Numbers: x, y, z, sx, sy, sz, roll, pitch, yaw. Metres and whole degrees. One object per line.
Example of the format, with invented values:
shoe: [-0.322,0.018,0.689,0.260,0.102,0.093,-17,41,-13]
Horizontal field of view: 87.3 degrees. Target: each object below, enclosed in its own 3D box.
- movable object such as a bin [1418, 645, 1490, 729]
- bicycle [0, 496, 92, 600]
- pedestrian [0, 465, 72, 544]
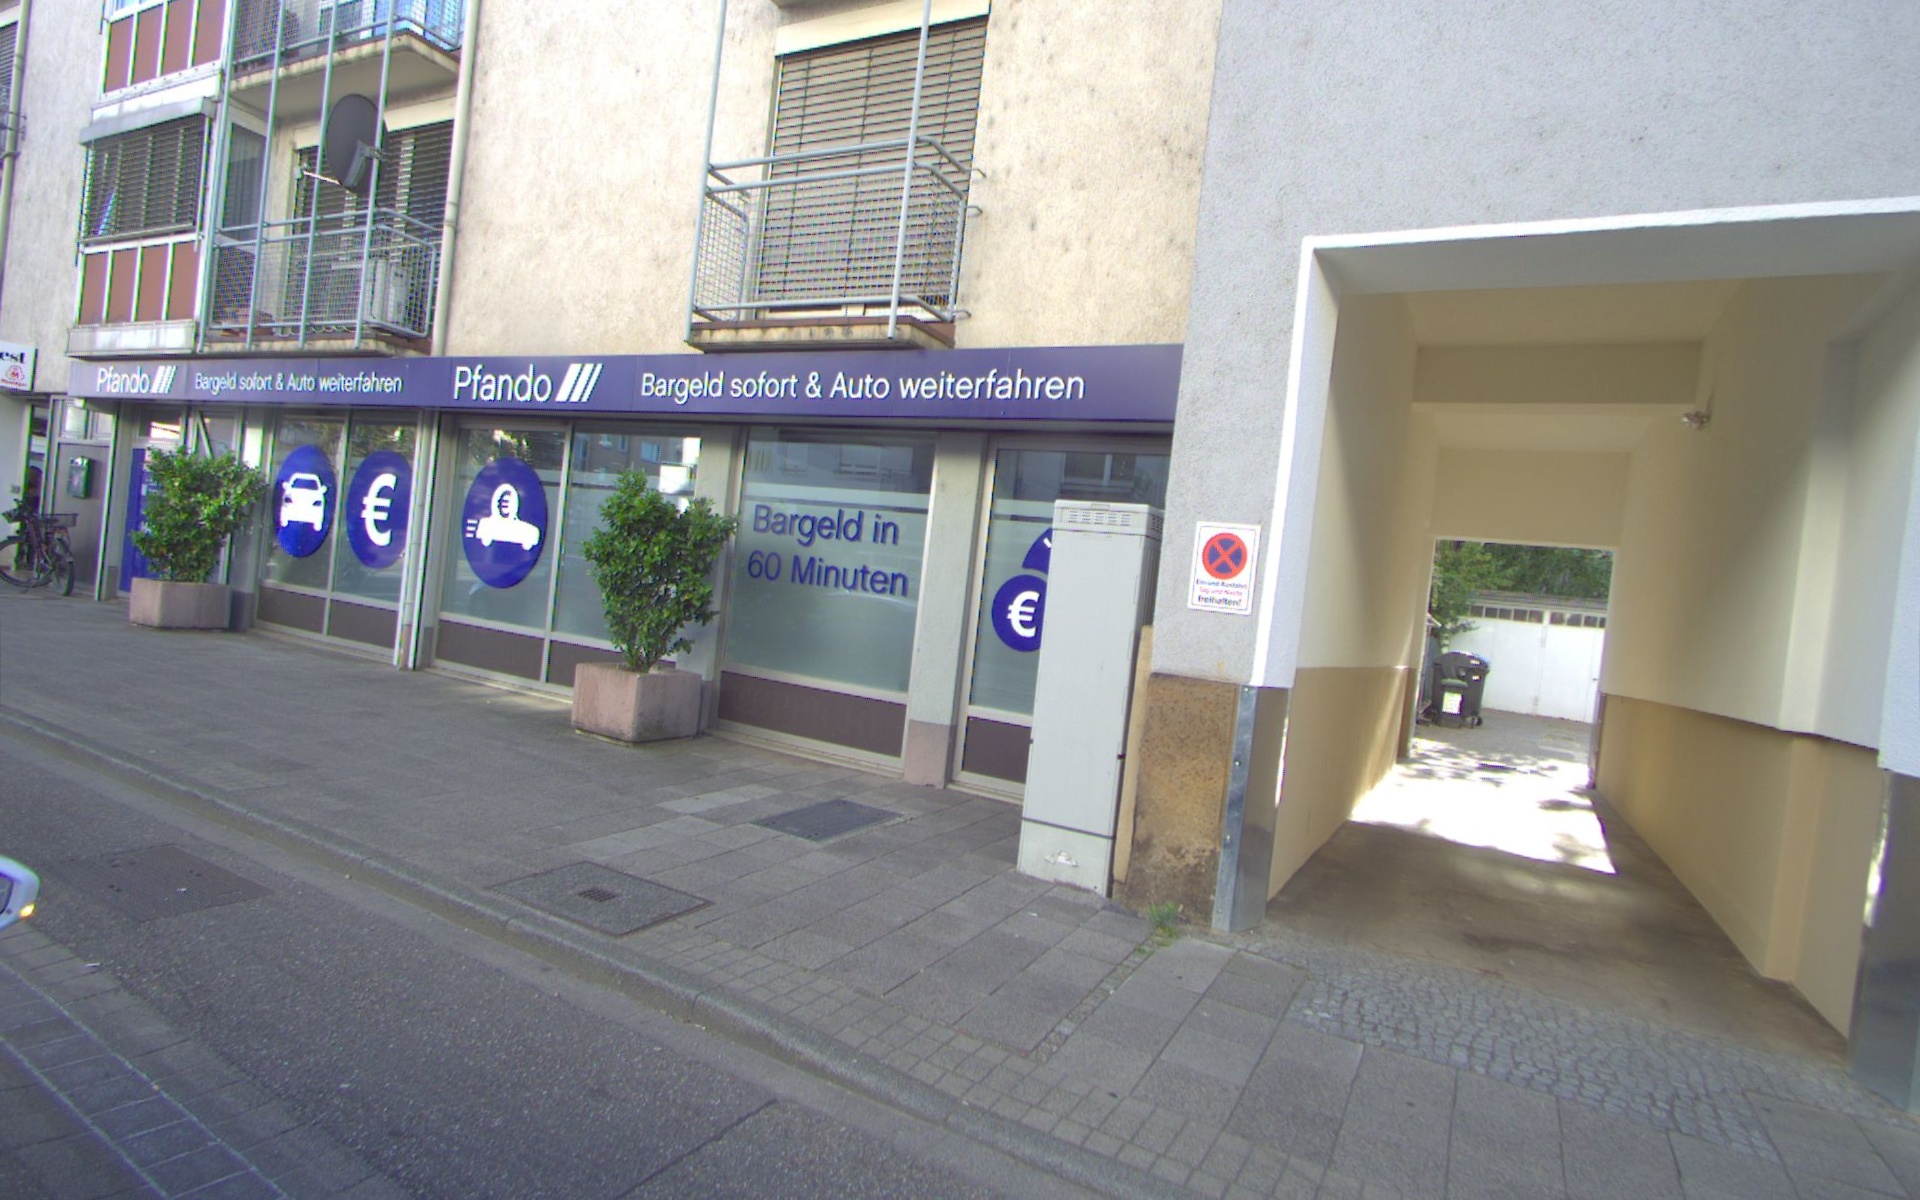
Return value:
movable object such as a bin: [10.033,1.766,20.412,1.092,1.511,1.329,6,-2,30]
bicycle: [-11.866,-0.686,12.867,1.747,1.176,0.497,6,0,29]
pedestrian: [-14.261,-1.454,15.416,0.667,1.102,0.624,7,2,-5]
